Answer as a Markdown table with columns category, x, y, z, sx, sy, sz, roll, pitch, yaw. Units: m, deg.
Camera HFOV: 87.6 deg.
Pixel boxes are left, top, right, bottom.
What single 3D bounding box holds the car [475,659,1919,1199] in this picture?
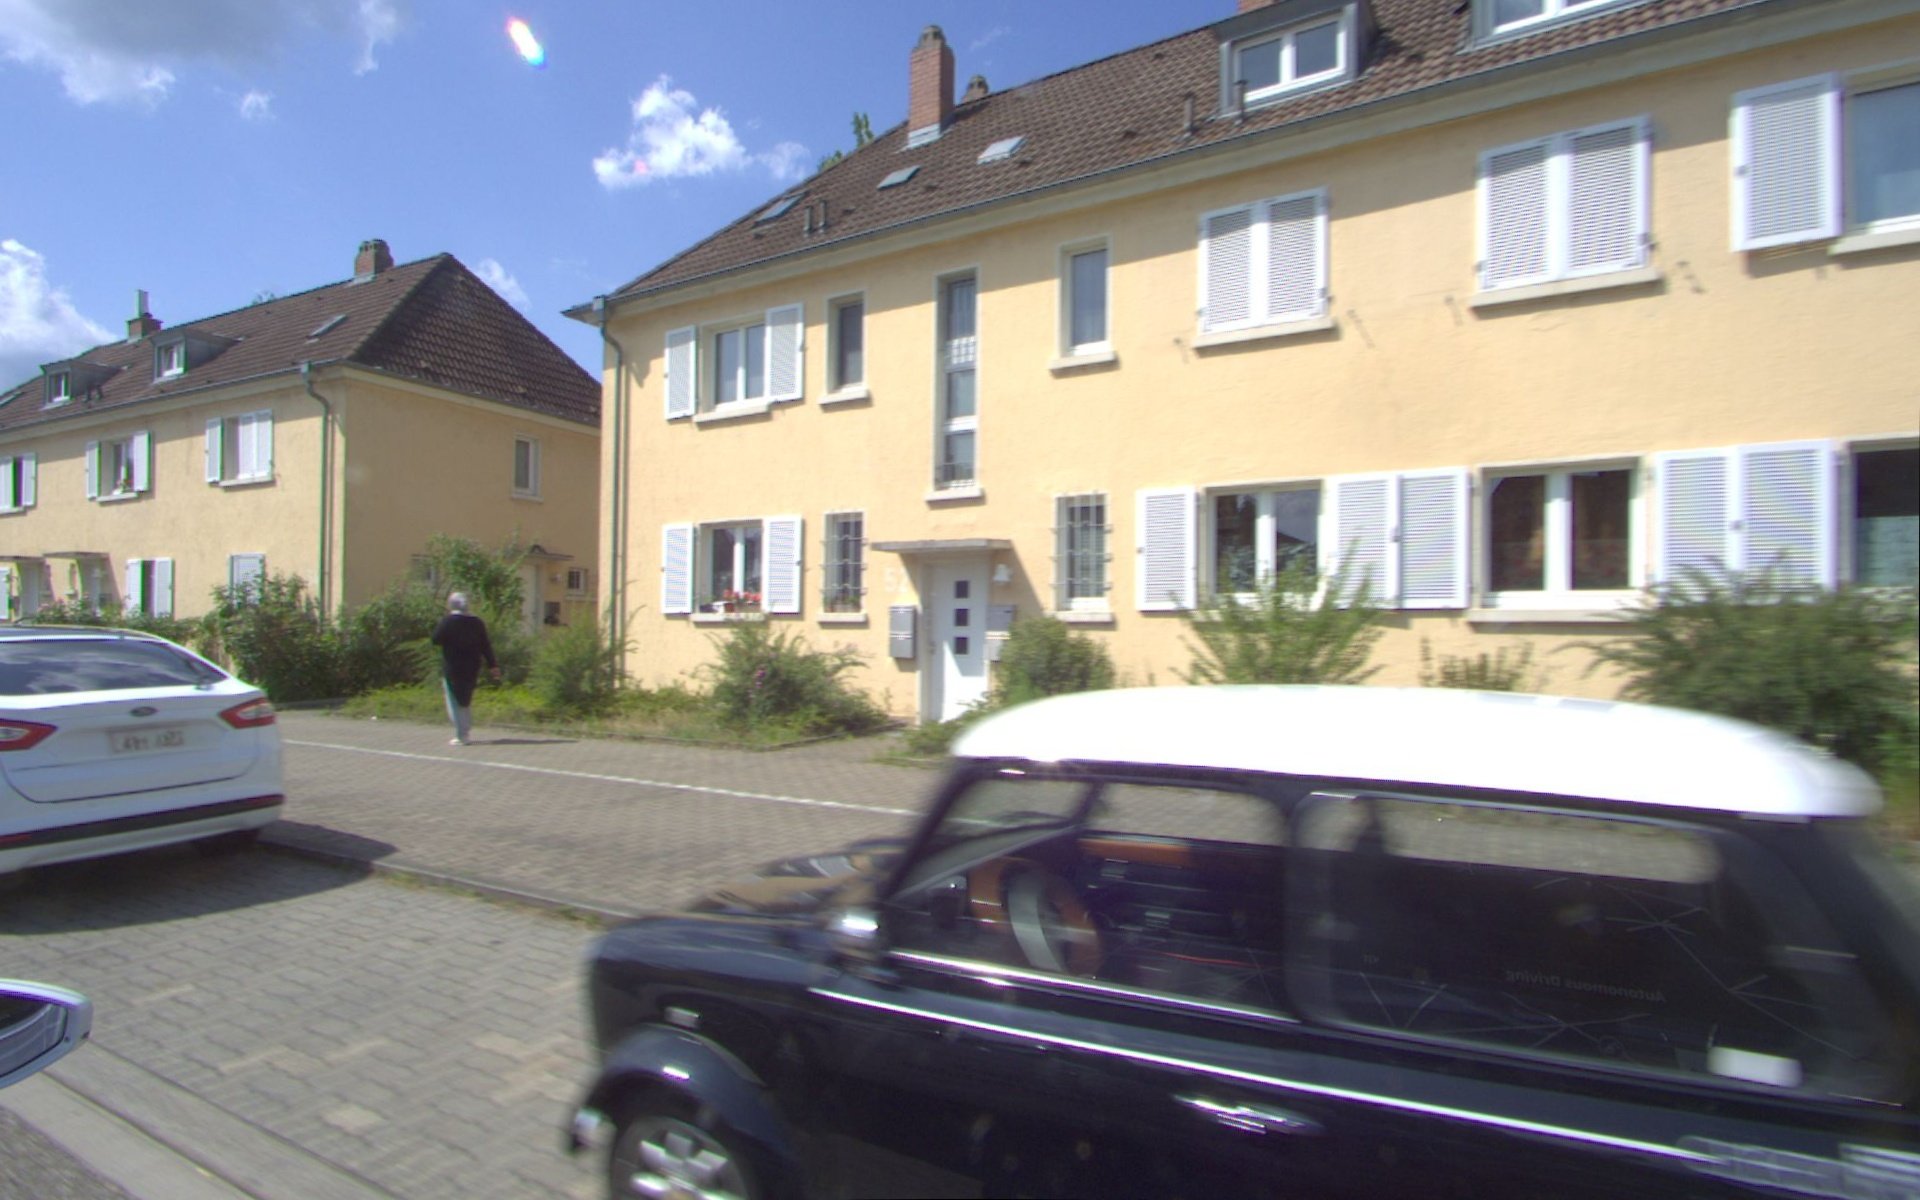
| category | x | y | z | sx | sy | sz | roll | pitch | yaw |
| --- | --- | --- | --- | --- | --- | --- | --- | --- | --- |
| car | 0.559 | 0.837 | 2.254 | 3.237 | 1.357 | 1.340 | -1 | -2 | 28 |

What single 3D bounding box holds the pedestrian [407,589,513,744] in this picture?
| category | x | y | z | sx | sy | sz | roll | pitch | yaw |
| --- | --- | --- | --- | --- | --- | --- | --- | --- | --- |
| pedestrian | -5.646 | 0.737 | 11.333 | 0.628 | 1.673 | 0.852 | 0 | -1 | 34 |

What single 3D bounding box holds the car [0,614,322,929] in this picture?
| category | x | y | z | sx | sy | sz | roll | pitch | yaw |
| --- | --- | --- | --- | --- | --- | --- | --- | --- | --- |
| car | -6.343 | 0.864 | 6.370 | 4.692 | 1.477 | 1.797 | -1 | 0 | 28 |

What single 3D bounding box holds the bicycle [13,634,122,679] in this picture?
| category | x | y | z | sx | sy | sz | roll | pitch | yaw |
| --- | --- | --- | --- | --- | --- | --- | --- | --- | --- |
| bicycle | -20.300 | 1.274 | 22.828 | 0.361 | 0.968 | 1.861 | 0 | -2 | 24 |
